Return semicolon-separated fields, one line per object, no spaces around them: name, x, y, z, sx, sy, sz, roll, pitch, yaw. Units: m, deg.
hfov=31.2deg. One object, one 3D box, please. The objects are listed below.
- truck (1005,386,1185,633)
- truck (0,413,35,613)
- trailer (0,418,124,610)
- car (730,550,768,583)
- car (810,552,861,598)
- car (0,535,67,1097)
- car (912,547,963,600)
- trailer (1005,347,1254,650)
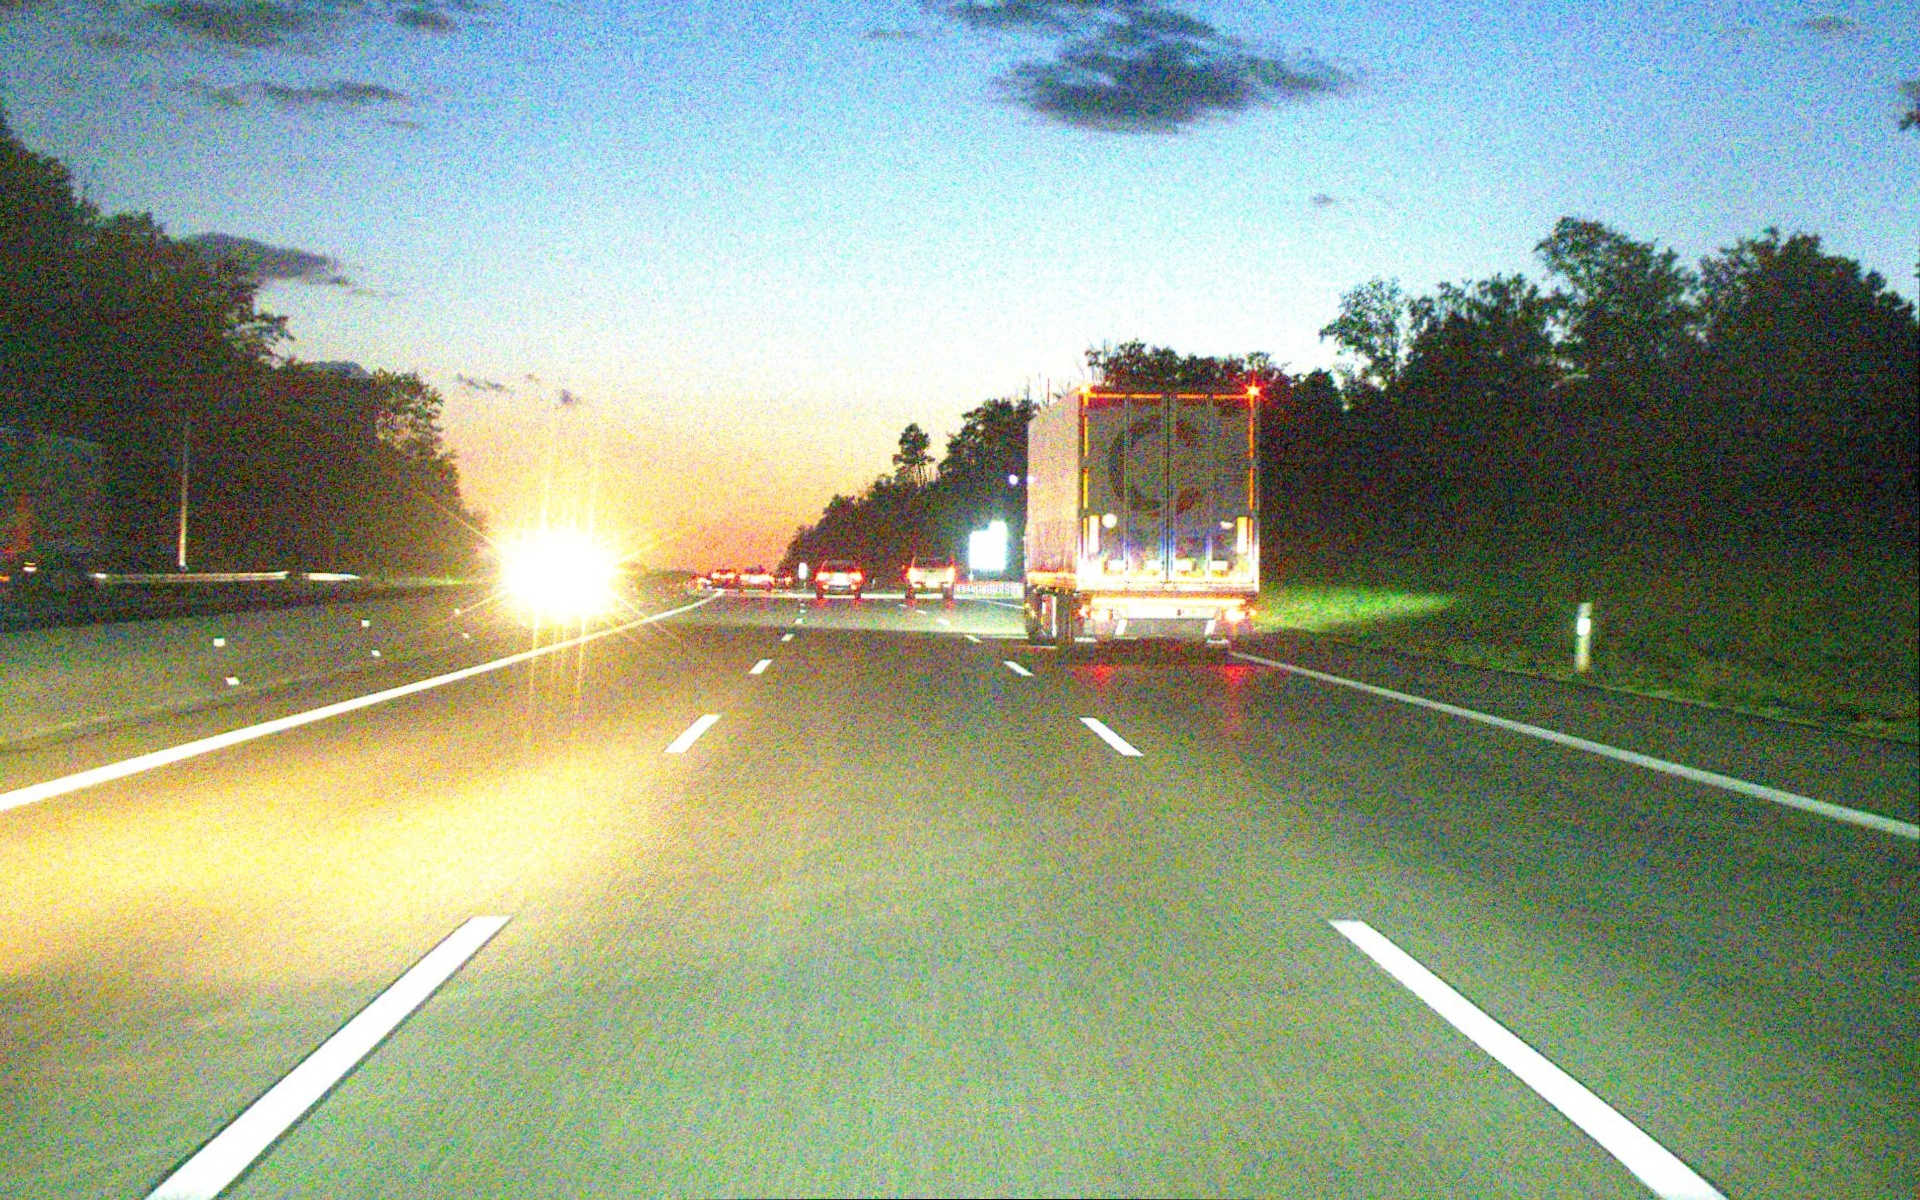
truck;2.384;-1.600;62.624;2.829;4.242;6.263;1;1;-1
truck;-20.888;-1.763;67.496;2.860;4.057;10.636;1;1;-2
trailer;-21.193;-1.895;77.274;2.860;4.057;8.872;1;1;-2
car;-11.941;-1.891;194.380;1.993;1.788;4.000;1;-1;-2
car;-5.071;-1.013;139.520;1.993;1.788;4.000;1;-1;-3
car;-3.635;0.653;7.089;1.993;1.513;5.651;1;2;1
car;-0.951;-1.075;141.923;1.993;2.110;4.000;1;-1;-2
trailer;2.514;-1.535;57.205;2.829;4.242;17.050;1;1;-1
